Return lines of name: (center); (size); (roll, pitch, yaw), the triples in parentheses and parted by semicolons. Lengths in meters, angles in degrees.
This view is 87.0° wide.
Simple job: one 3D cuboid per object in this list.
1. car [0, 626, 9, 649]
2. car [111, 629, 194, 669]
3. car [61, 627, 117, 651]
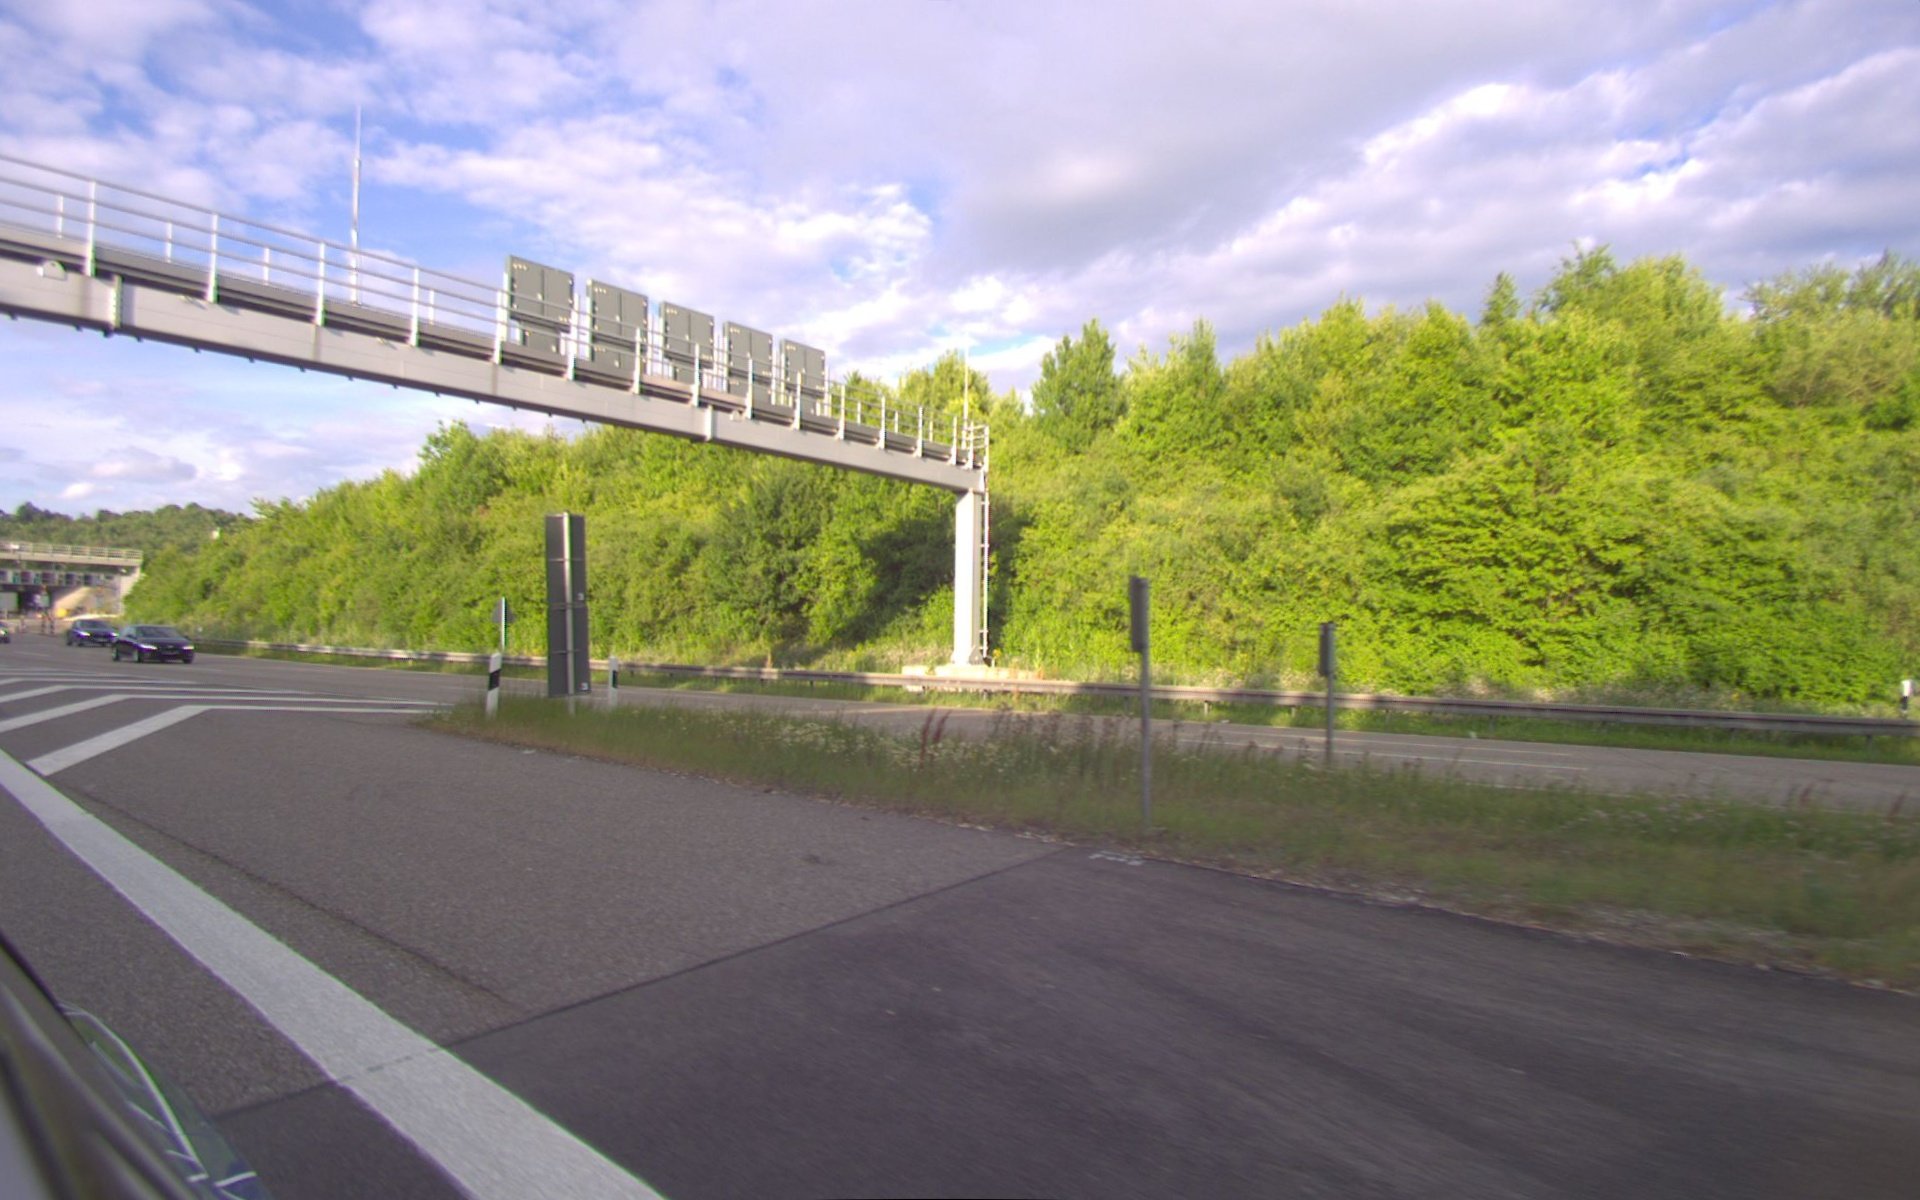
car: (-57.574, 2.195, 59.679); (3.998, 1.301, 1.774); (-1, -2, 41)
car: (-30.573, 1.824, 38.295); (3.998, 1.417, 1.739); (-1, -2, 41)
car: (-49.957, 2.219, 58.040); (3.998, 1.301, 1.856); (-1, -1, 41)
